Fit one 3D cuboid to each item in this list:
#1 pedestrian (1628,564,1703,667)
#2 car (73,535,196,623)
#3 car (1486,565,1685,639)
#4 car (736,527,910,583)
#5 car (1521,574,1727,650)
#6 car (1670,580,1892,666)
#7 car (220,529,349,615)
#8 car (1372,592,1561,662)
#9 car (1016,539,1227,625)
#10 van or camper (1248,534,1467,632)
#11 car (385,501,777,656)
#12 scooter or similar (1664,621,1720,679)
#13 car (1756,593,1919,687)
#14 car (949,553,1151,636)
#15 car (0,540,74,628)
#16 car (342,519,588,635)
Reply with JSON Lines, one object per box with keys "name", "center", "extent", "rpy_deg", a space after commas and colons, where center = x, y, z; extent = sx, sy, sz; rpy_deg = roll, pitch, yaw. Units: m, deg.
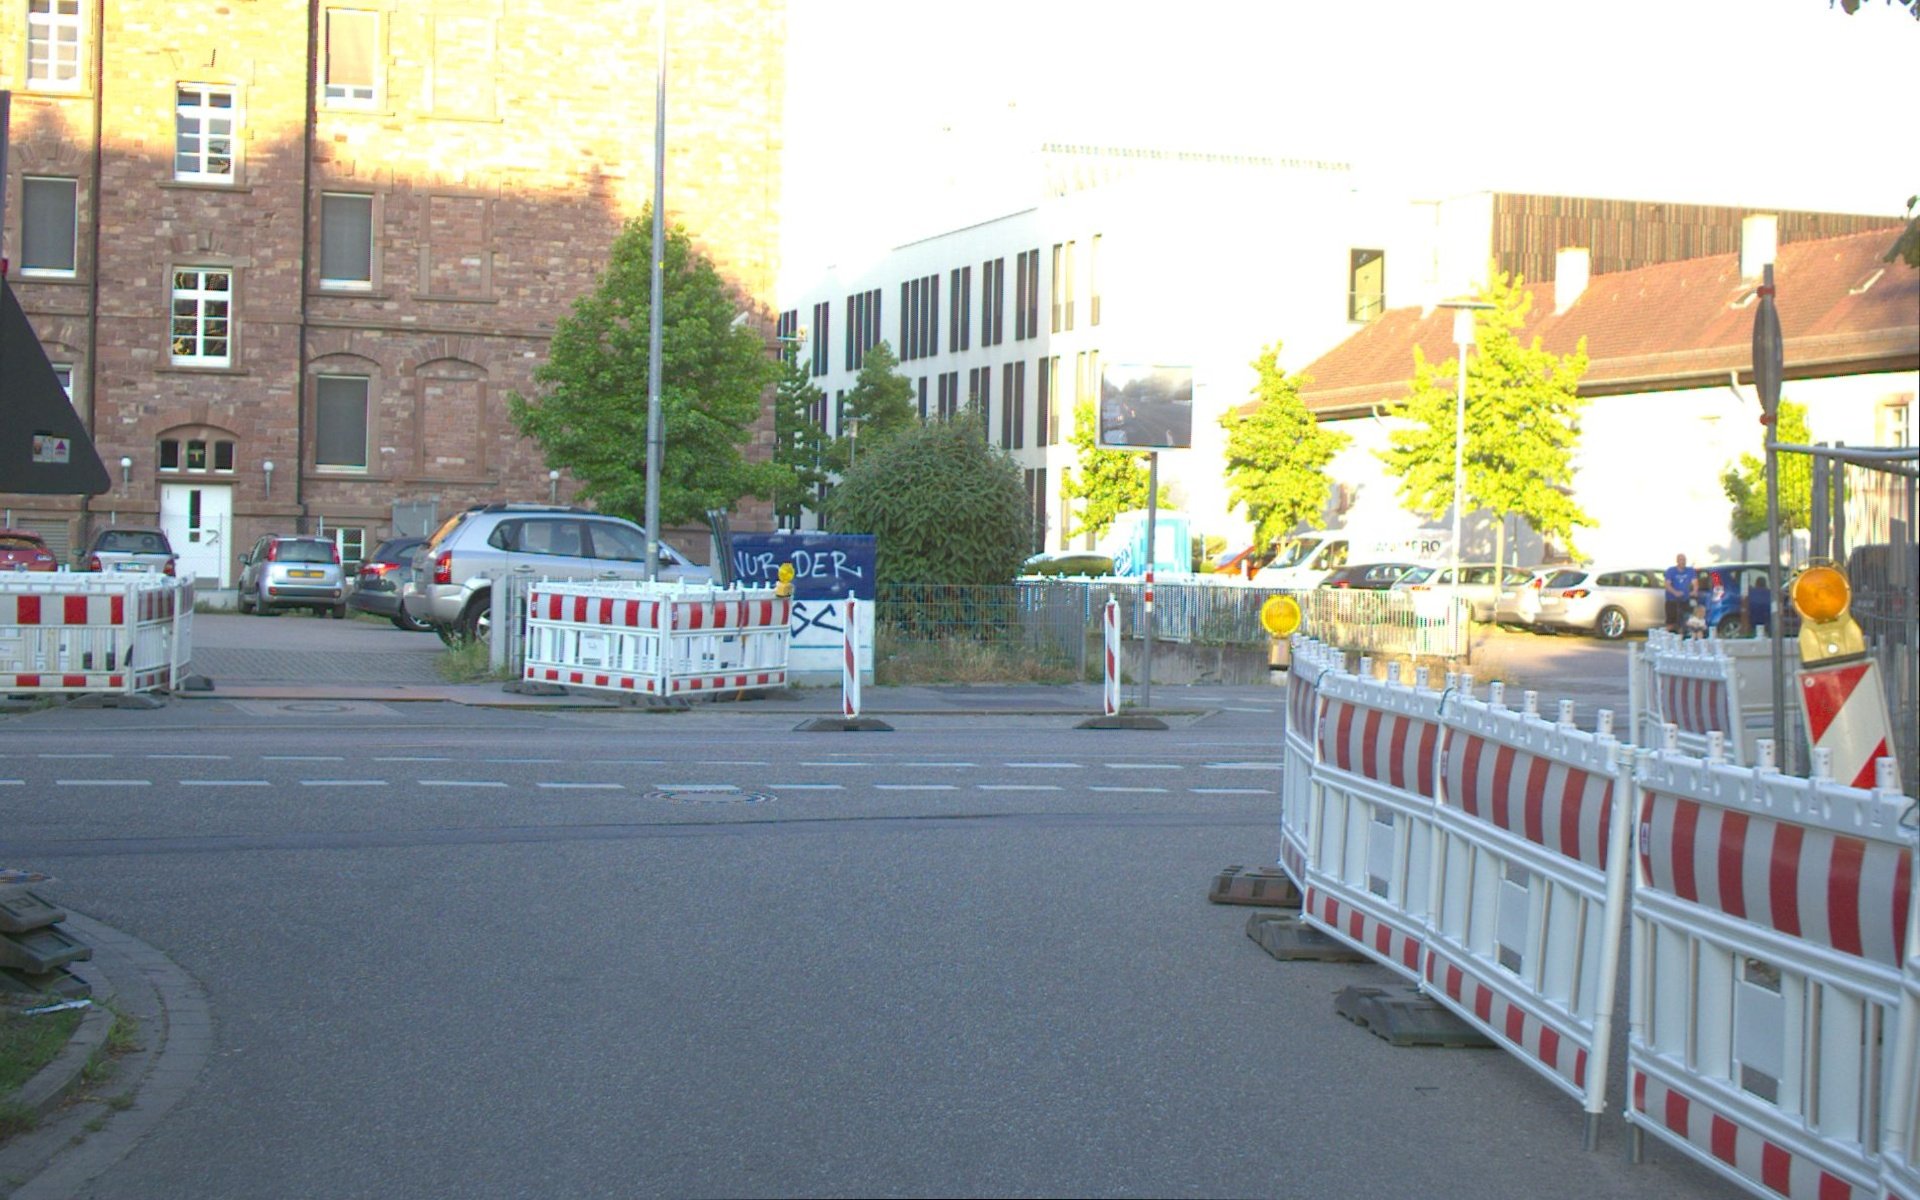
{"name": "pedestrian", "center": [11.439, 0.246, 55.762], "extent": [0.749, 1.637, 1.015], "rpy_deg": [1, 0, -17]}
{"name": "car", "center": [-15.336, -0.418, 63.765], "extent": [1.896, 1.532, 4.180], "rpy_deg": [1, 1, -17]}
{"name": "car", "center": [13.113, 0.036, 72.073], "extent": [3.739, 1.440, 1.687], "rpy_deg": [1, 0, -21]}
{"name": "car", "center": [-3.448, -1.119, 86.377], "extent": [3.986, 1.308, 1.878], "rpy_deg": [1, 0, -19]}
{"name": "car", "center": [13.409, 0.242, 69.433], "extent": [3.739, 1.440, 1.687], "rpy_deg": [1, 0, -21]}
{"name": "car", "center": [15.487, 0.434, 64.864], "extent": [3.739, 1.524, 1.687], "rpy_deg": [1, 0, -21]}
{"name": "car", "center": [-12.722, -0.548, 64.617], "extent": [1.896, 1.532, 4.180], "rpy_deg": [1, 1, -17]}
{"name": "car", "center": [11.159, 0.589, 75.769], "extent": [3.739, 1.440, 1.687], "rpy_deg": [1, 0, -21]}
{"name": "car", "center": [3.166, -0.351, 67.482], "extent": [3.739, 1.597, 1.687], "rpy_deg": [1, 0, -21]}
{"name": "van or camper", "center": [9.592, -0.398, 82.933], "extent": [4.961, 2.233, 1.687], "rpy_deg": [1, 0, -21]}
{"name": "car", "center": [-4.443, -0.246, 40.218], "extent": [4.268, 1.703, 1.703], "rpy_deg": [1, 1, -19]}
{"name": "scooter or similar", "center": [11.666, 0.792, 54.796], "extent": [0.513, 0.887, 0.806], "rpy_deg": [1, 0, -17]}
{"name": "car", "center": [16.341, 0.717, 60.680], "extent": [3.986, 1.567, 2.001], "rpy_deg": [1, 0, -21]}
{"name": "car", "center": [1.838, -0.107, 70.245], "extent": [3.739, 1.597, 1.687], "rpy_deg": [1, 0, -21]}
{"name": "car", "center": [-17.385, -0.321, 63.137], "extent": [1.896, 1.532, 4.180], "rpy_deg": [1, 1, -17]}
{"name": "car", "center": [-7.649, -0.356, 53.083], "extent": [3.474, 1.703, 1.668], "rpy_deg": [1, 1, -19]}
